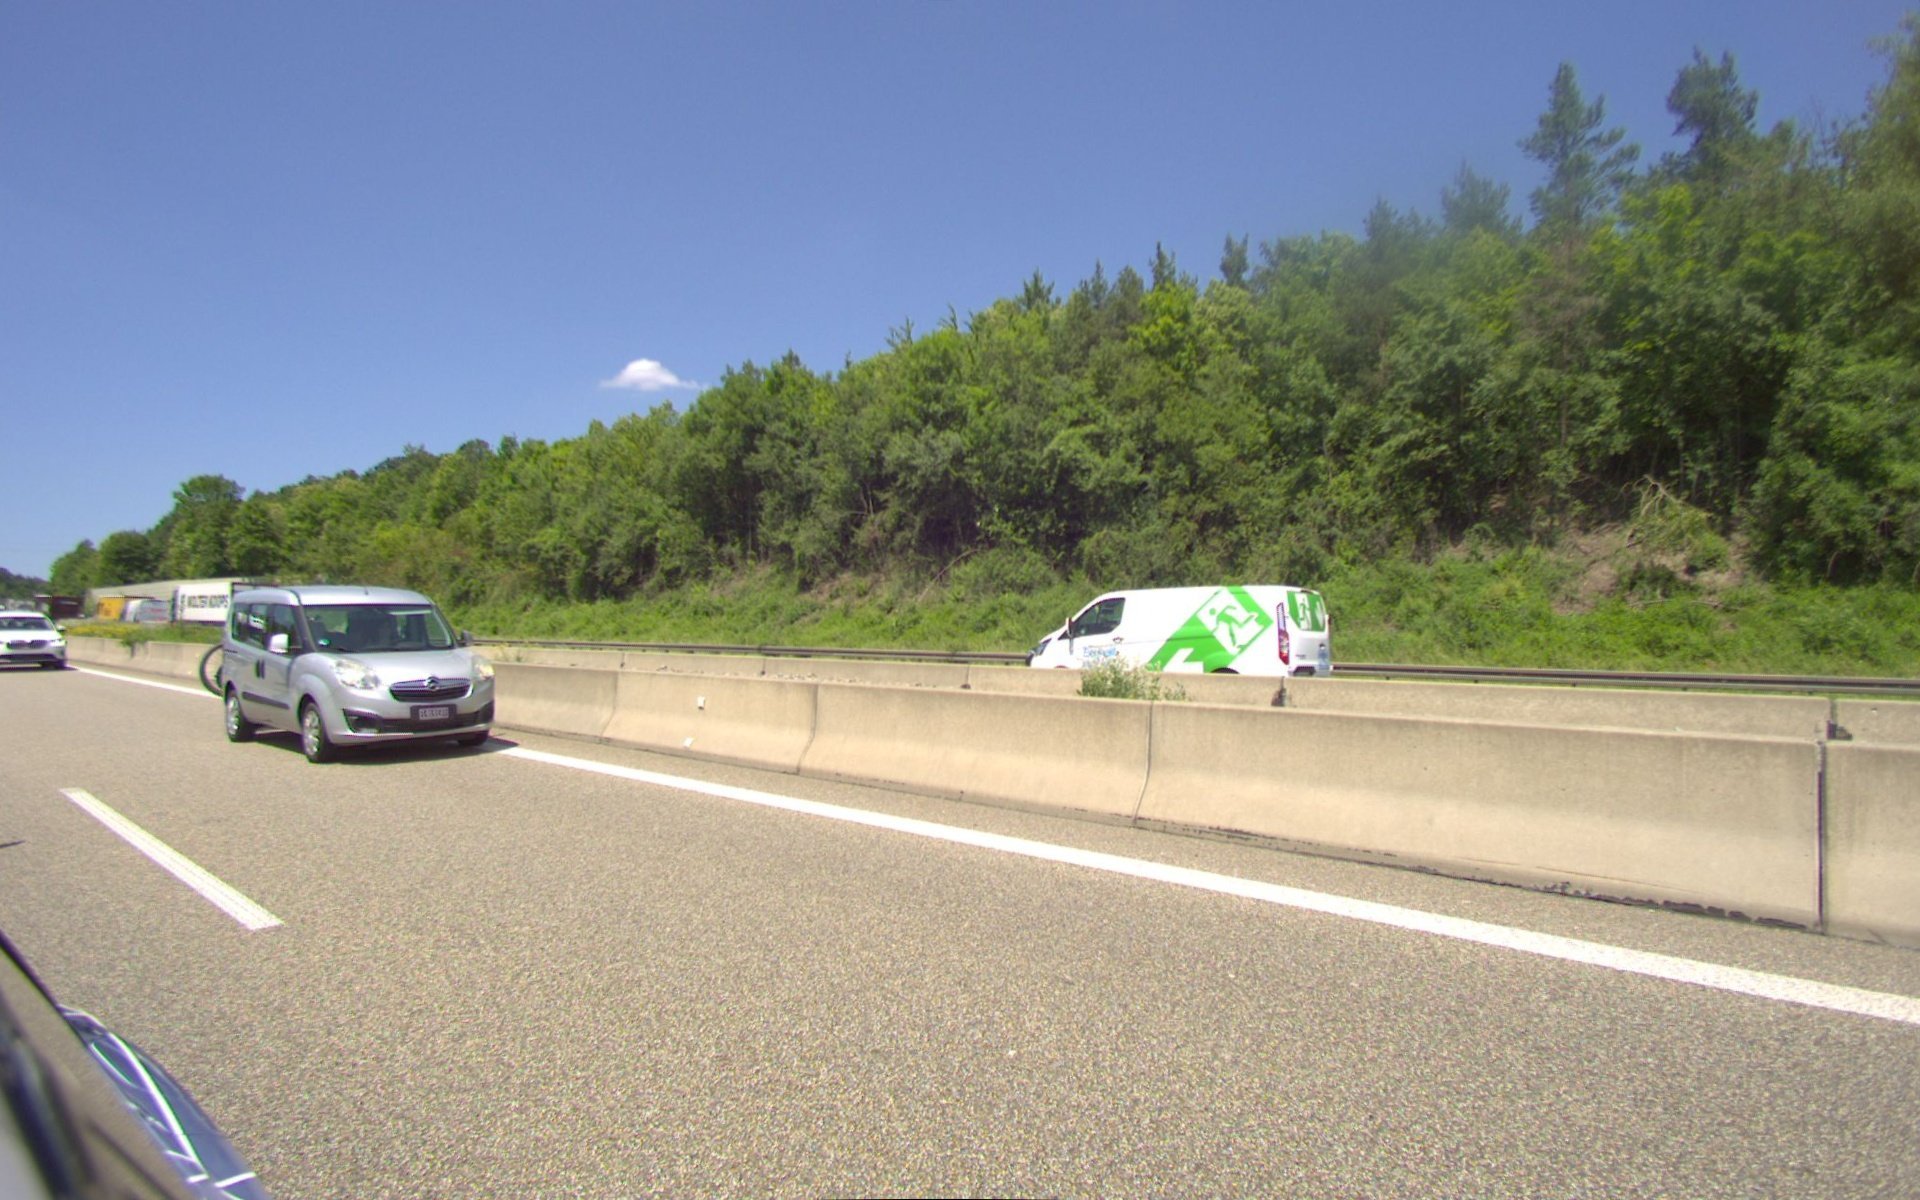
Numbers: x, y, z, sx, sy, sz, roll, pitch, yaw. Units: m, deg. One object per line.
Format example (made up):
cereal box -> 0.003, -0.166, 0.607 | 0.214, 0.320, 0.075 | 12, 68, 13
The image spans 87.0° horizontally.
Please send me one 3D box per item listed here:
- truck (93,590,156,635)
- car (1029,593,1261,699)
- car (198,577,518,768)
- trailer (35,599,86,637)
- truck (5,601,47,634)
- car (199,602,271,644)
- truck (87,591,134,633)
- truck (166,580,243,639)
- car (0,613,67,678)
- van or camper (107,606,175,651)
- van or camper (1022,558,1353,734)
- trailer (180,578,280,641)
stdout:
truck -> -90.506, 1.298, 109.487 | 14.094, 4.579, 3.059 | 0, 0, 42
car -> 3.905, 0.891, 21.746 | 4.473, 2.029, 2.093 | 0, 0, 39
car -> -7.170, 0.680, 11.795 | 4.917, 1.786, 1.833 | 0, 0, 42
trailer -> -103.126, 2.011, 115.932 | 7.893, 4.226, 3.399 | 0, 0, 41
truck -> -141.038, 2.716, 152.682 | 14.093, 4.580, 3.235 | -2, -1, 41
car -> -36.595, 1.107, 51.074 | 3.996, 2.029, 1.974 | 0, 0, 39
truck -> -96.289, 1.324, 114.613 | 7.091, 4.579, 3.059 | 0, 0, 41
truck -> -53.719, 0.656, 71.874 | 7.212, 3.949, 2.909 | 0, 0, 41
car -> -27.244, 1.261, 29.157 | 3.998, 1.719, 1.800 | 0, 0, 41
van or camper -> -55.121, 1.844, 68.058 | 6.707, 2.897, 2.370 | 0, 0, 40
van or camper -> 3.498, 0.681, 16.172 | 4.805, 2.403, 1.973 | -1, -2, 41
trailer -> -48.926, 0.623, 67.651 | 11.395, 3.901, 2.966 | 0, 0, 41
